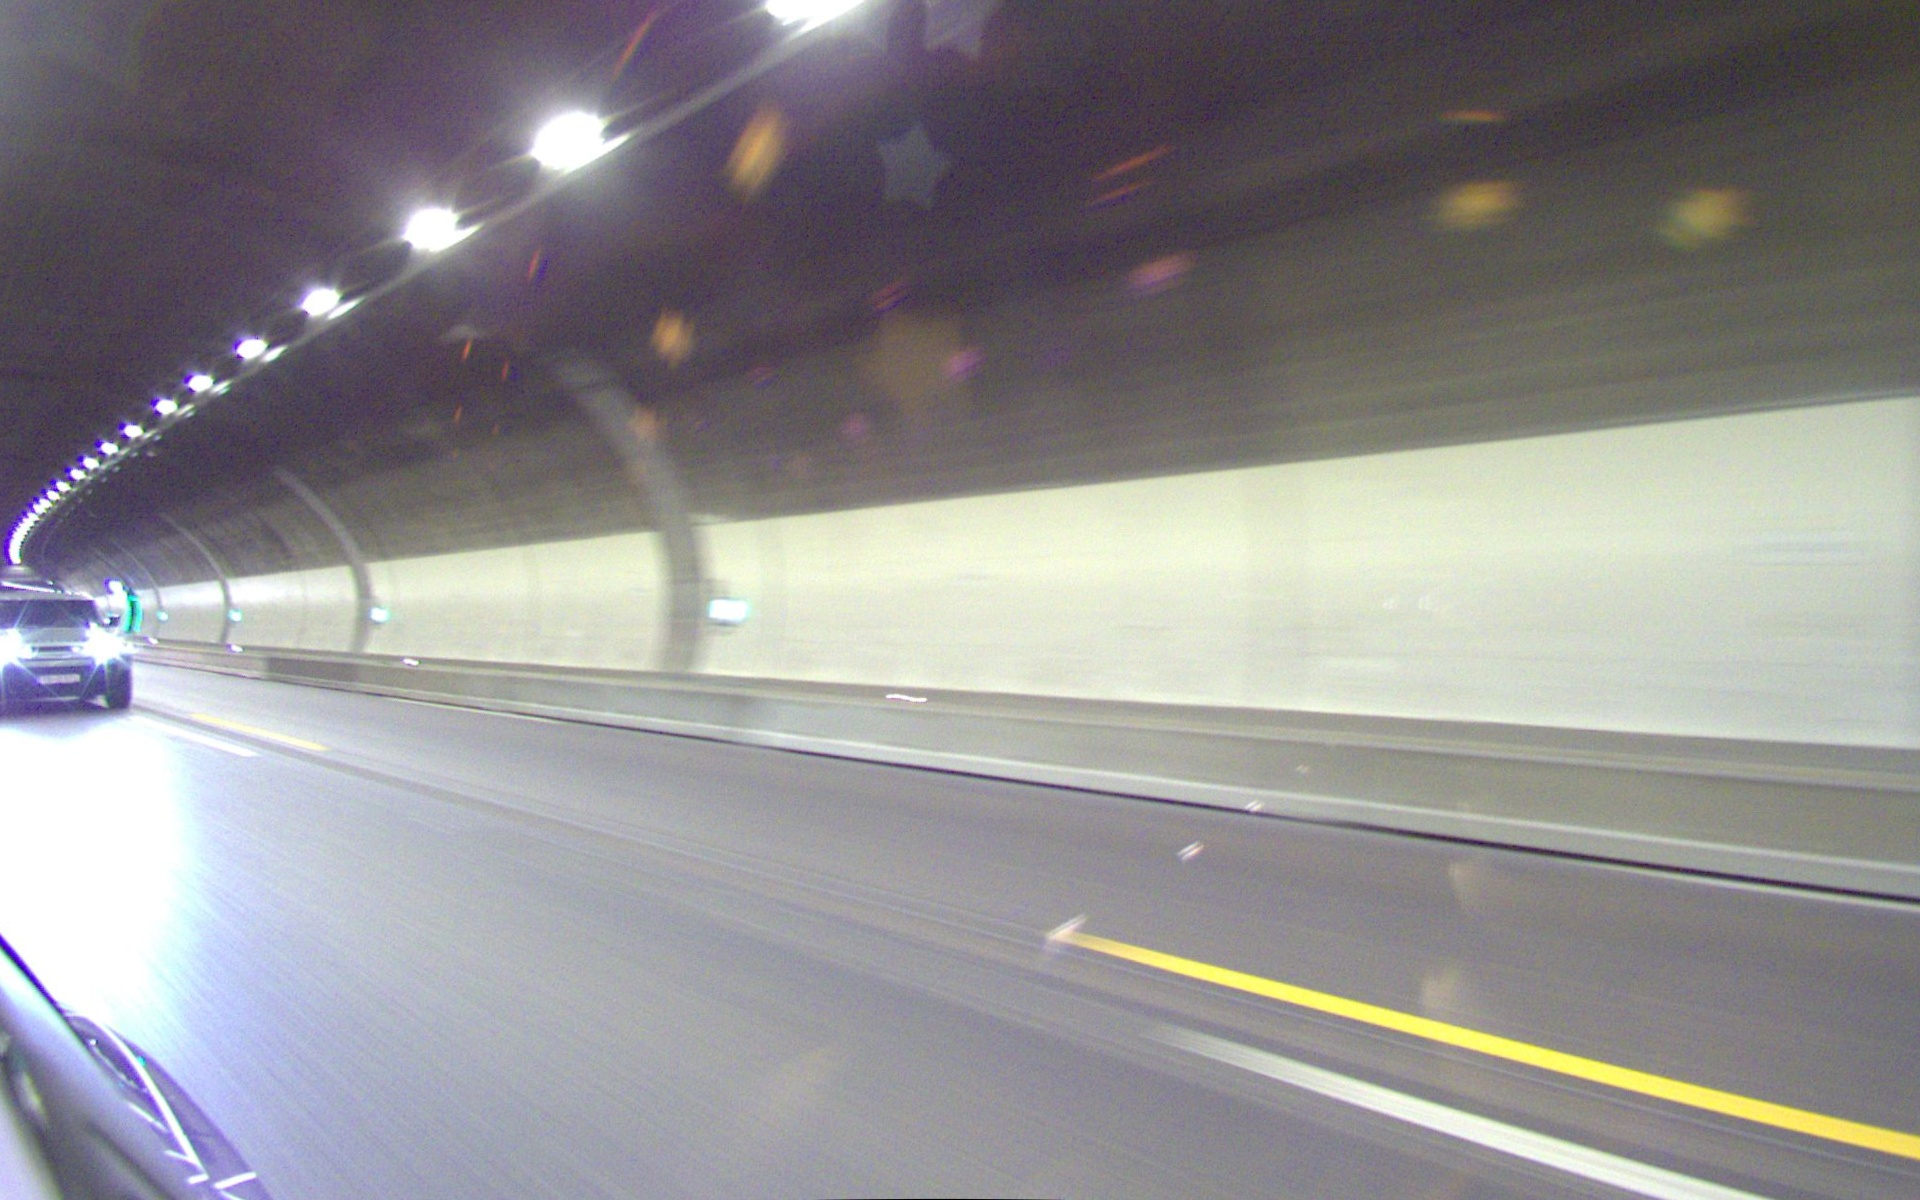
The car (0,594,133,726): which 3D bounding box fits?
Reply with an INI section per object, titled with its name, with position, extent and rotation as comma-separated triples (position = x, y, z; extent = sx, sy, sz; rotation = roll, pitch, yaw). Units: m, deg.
[car]
position = -15.598, 0.930, 16.898
extent = 5.452, 1.909, 1.972
rotation = -1, -2, 42
